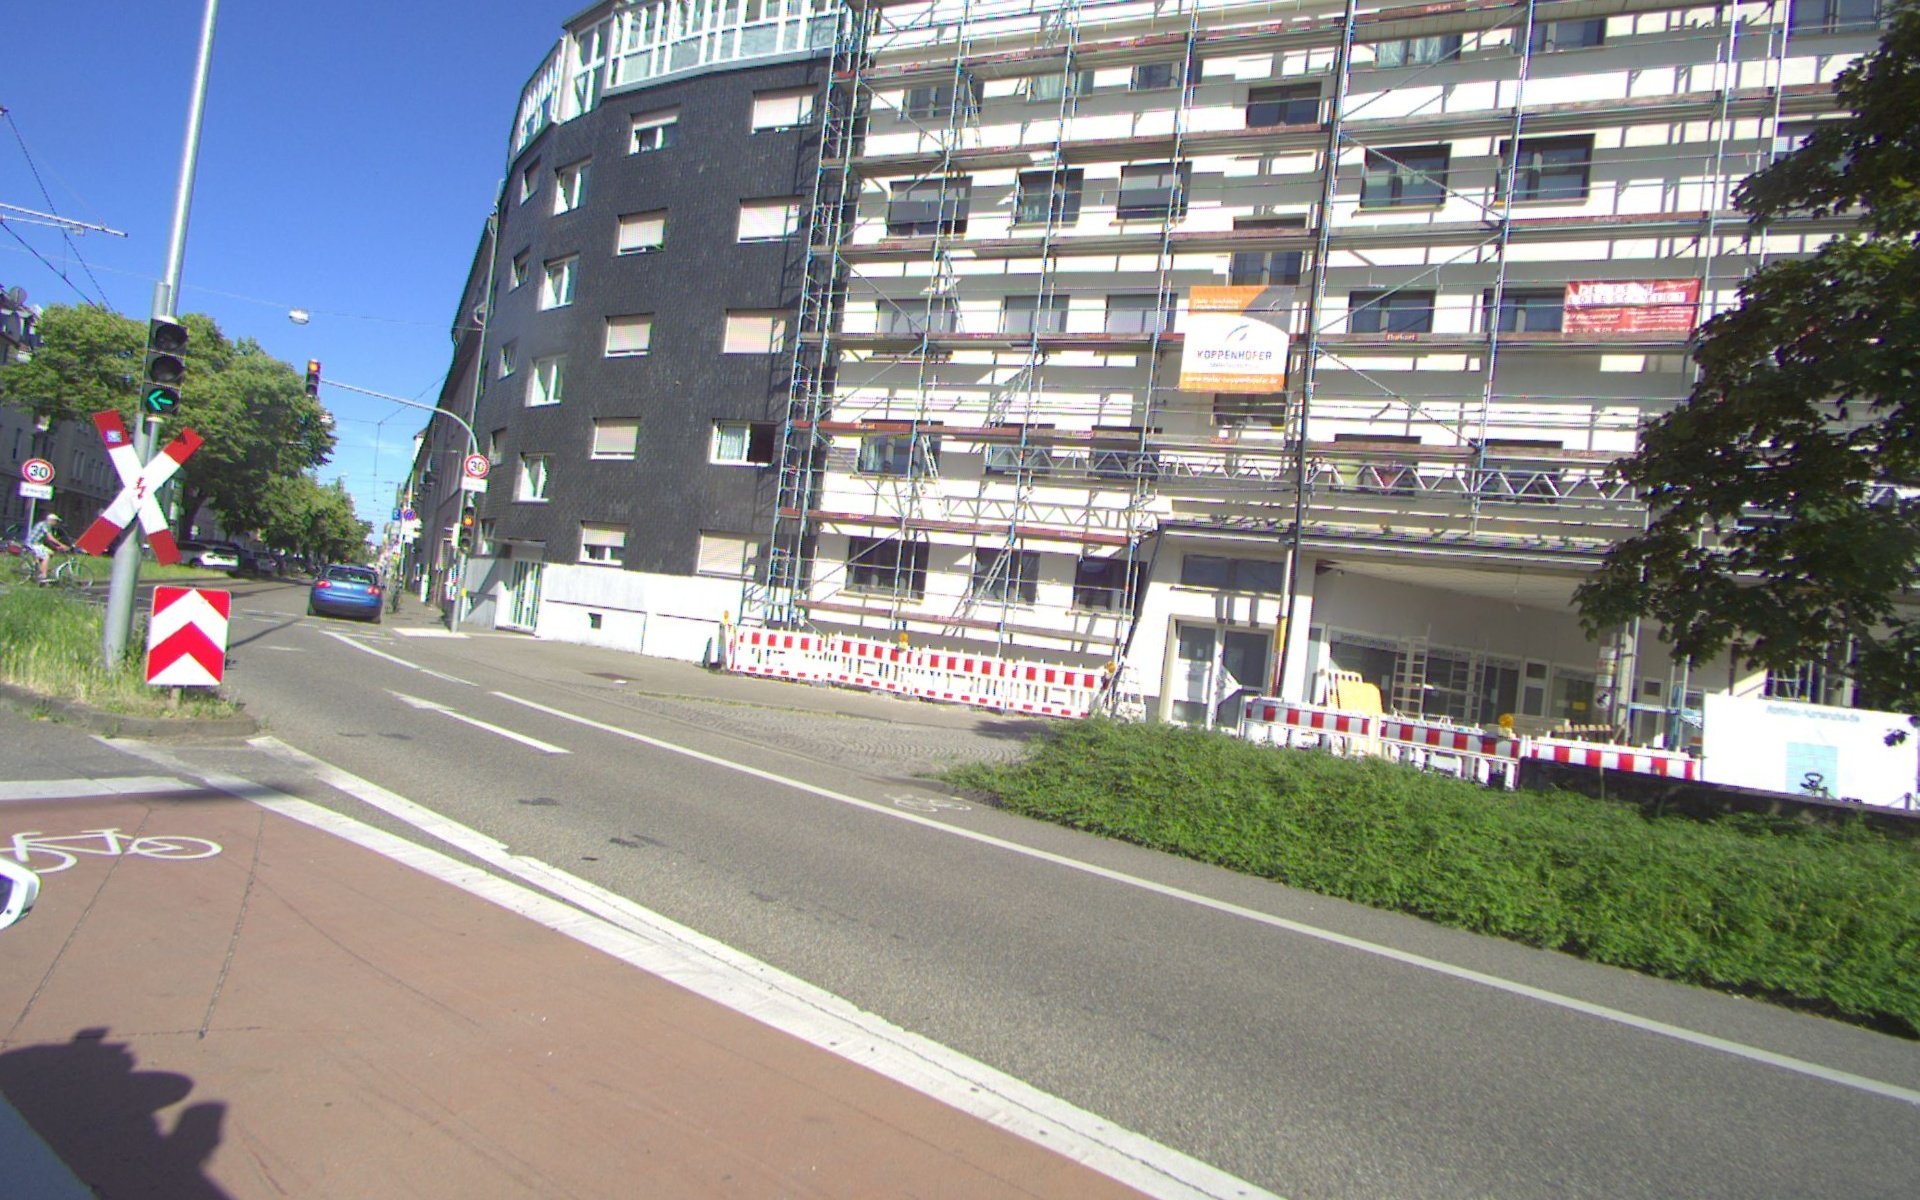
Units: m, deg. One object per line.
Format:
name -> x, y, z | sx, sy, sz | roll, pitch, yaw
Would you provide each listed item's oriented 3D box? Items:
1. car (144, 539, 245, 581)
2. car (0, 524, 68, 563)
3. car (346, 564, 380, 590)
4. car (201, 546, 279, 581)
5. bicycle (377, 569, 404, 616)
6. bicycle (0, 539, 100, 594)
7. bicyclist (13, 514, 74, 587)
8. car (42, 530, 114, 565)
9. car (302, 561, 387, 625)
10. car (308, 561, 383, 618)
car -> -39.536, -2.057, 51.980 | 3.923, 1.612, 1.913 | 7, -2, 12
car -> -42.964, -2.602, 46.172 | 1.978, 1.489, 3.974 | 8, -3, -28
car -> -45.473, -1.715, 76.705 | 1.979, 1.635, 3.974 | 9, -4, -29
car -> -49.273, -2.492, 68.947 | 3.764, 1.806, 1.835 | 8, -2, -18
bicycle -> -19.709, -0.284, 34.779 | 0.569, 1.528, 2.786 | 7, -2, -31
bicycle -> -21.486, -0.772, 23.575 | 0.580, 1.044, 1.854 | 6, -2, 34
bicyclist -> -21.457, -1.154, 23.562 | 0.553, 1.577, 0.822 | 6, -2, 34
car -> -48.252, -2.845, 55.139 | 1.978, 1.504, 3.974 | 8, -3, -28
car -> -17.389, -0.238, 28.429 | 1.764, 1.459, 3.589 | 9, -3, -32
car -> -19.897, -0.376, 32.641 | 1.807, 1.525, 3.969 | 8, -2, -31
